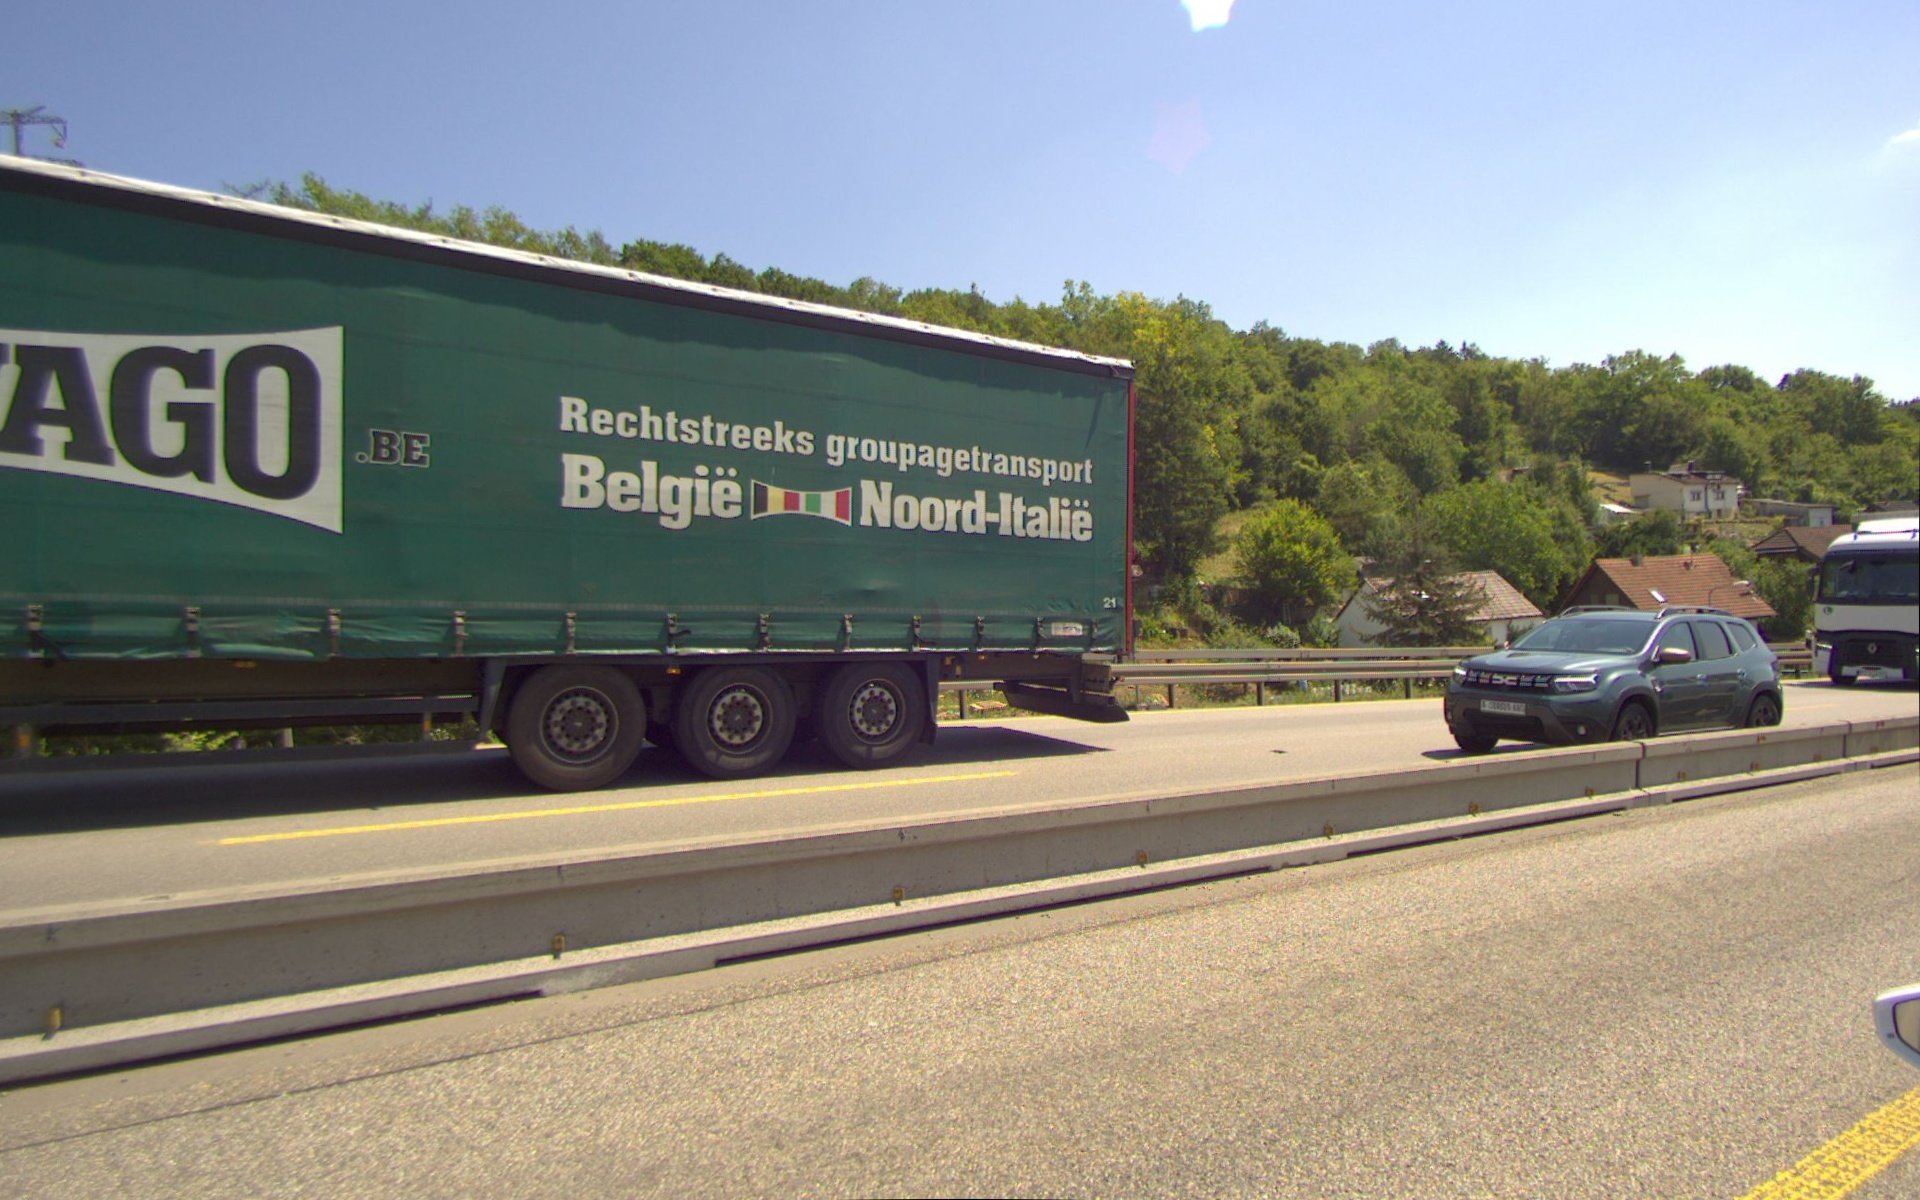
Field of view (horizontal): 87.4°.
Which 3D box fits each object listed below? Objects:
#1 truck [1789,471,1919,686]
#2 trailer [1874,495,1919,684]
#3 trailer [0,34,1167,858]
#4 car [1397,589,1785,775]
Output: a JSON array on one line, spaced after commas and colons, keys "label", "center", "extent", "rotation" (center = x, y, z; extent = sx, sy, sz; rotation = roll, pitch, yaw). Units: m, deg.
[{"label": "truck", "center": [22.799, -0.366, 23.868], "extent": [5.716, 4.640, 2.835], "rotation": [2, -1, -29]}, {"label": "trailer", "center": [30.437, -0.041, 27.921], "extent": [14.399, 4.703, 2.822], "rotation": [2, -1, -28]}, {"label": "trailer", "center": [-4.585, -0.836, 8.374], "extent": [13.838, 4.879, 3.050], "rotation": [2, -1, -30]}, {"label": "car", "center": [7.008, 0.804, 11.106], "extent": [4.064, 1.703, 1.948], "rotation": [1, -1, -29]}]
